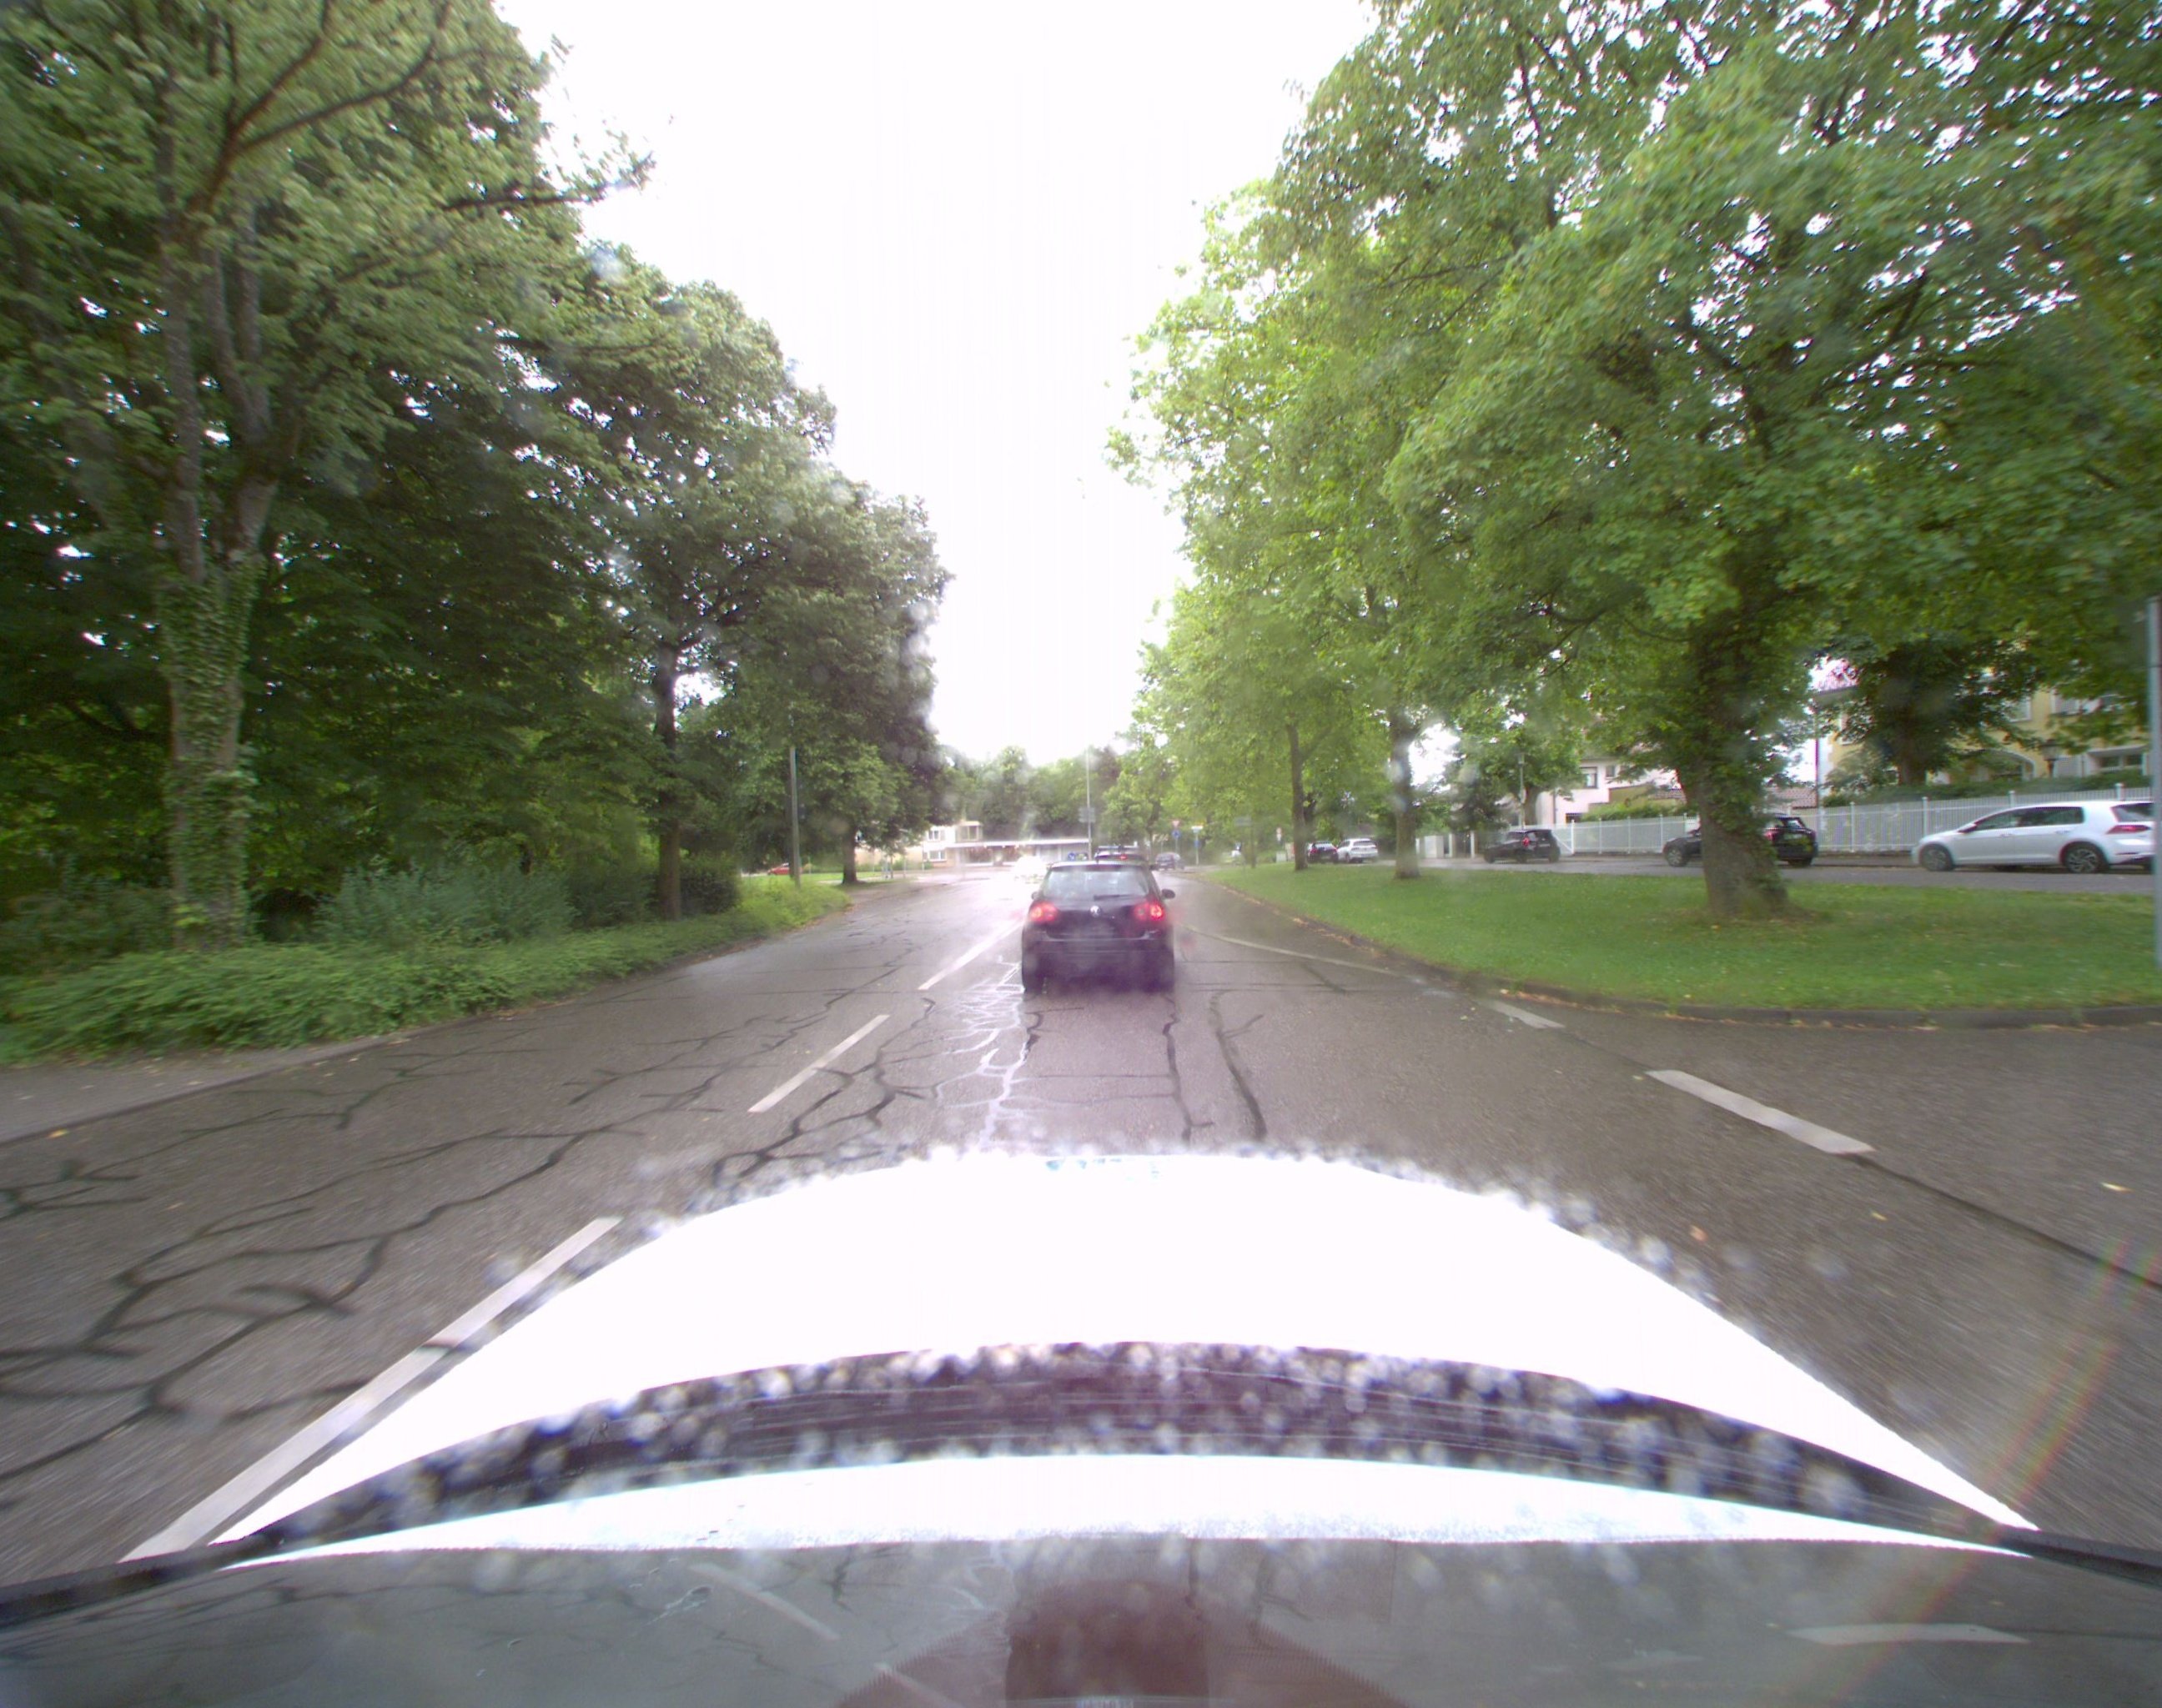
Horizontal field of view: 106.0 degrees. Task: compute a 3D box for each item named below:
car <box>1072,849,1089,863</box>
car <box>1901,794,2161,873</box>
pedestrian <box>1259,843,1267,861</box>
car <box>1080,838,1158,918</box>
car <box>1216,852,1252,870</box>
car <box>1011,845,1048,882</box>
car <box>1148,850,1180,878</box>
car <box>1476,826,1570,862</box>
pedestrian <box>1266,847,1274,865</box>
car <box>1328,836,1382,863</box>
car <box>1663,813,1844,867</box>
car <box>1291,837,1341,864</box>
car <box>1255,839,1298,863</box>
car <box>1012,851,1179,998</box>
[{"bbox_3d":[-0.100,0.225,98.898,1.809,1.486,3.826,-3,0,-4],"label":"car"},{"bbox_3d":[20.300,-0.371,17.088,1.988,1.449,4.122,0,0,-1],"label":"car"},{"bbox_3d":[16.948,-0.192,75.729,0.528,1.713,0.633,0,-1,-11],"label":"pedestrian"},{"bbox_3d":[0.976,0.591,21.347,1.758,1.801,4.248,-3,-1,2],"label":"car"},{"bbox_3d":[15.042,0.680,79.856,1.796,1.750,4.025,-1,-1,37],"label":"car"},{"bbox_3d":[-2.929,0.551,46.558,1.989,2.014,4.567,0,-1,-4],"label":"car"},{"bbox_3d":[6.775,0.887,66.854,1.989,1.528,3.999,-17,-5,0],"label":"car"},{"bbox_3d":[19.833,-0.409,36.783,1.755,1.471,4.354,-3,0,-1],"label":"car"},{"bbox_3d":[17.706,0.190,76.301,0.628,1.713,0.532,-1,-1,19],"label":"pedestrian"},{"bbox_3d":[16.776,-0.253,50.078,1.839,1.471,4.426,-3,-1,1],"label":"car"},{"bbox_3d":[19.938,-0.373,24.424,1.988,1.471,4.122,0,0,-1],"label":"car"},{"bbox_3d":[14.318,-0.161,49.895,1.758,1.471,4.600,-4,-1,2],"label":"car"},{"bbox_3d":[15.240,-0.243,63.657,1.991,1.741,4.136,2,1,-6],"label":"car"},{"bbox_3d":[0.218,0.763,10.617,1.758,1.538,4.001,0,-1,2],"label":"car"}]
